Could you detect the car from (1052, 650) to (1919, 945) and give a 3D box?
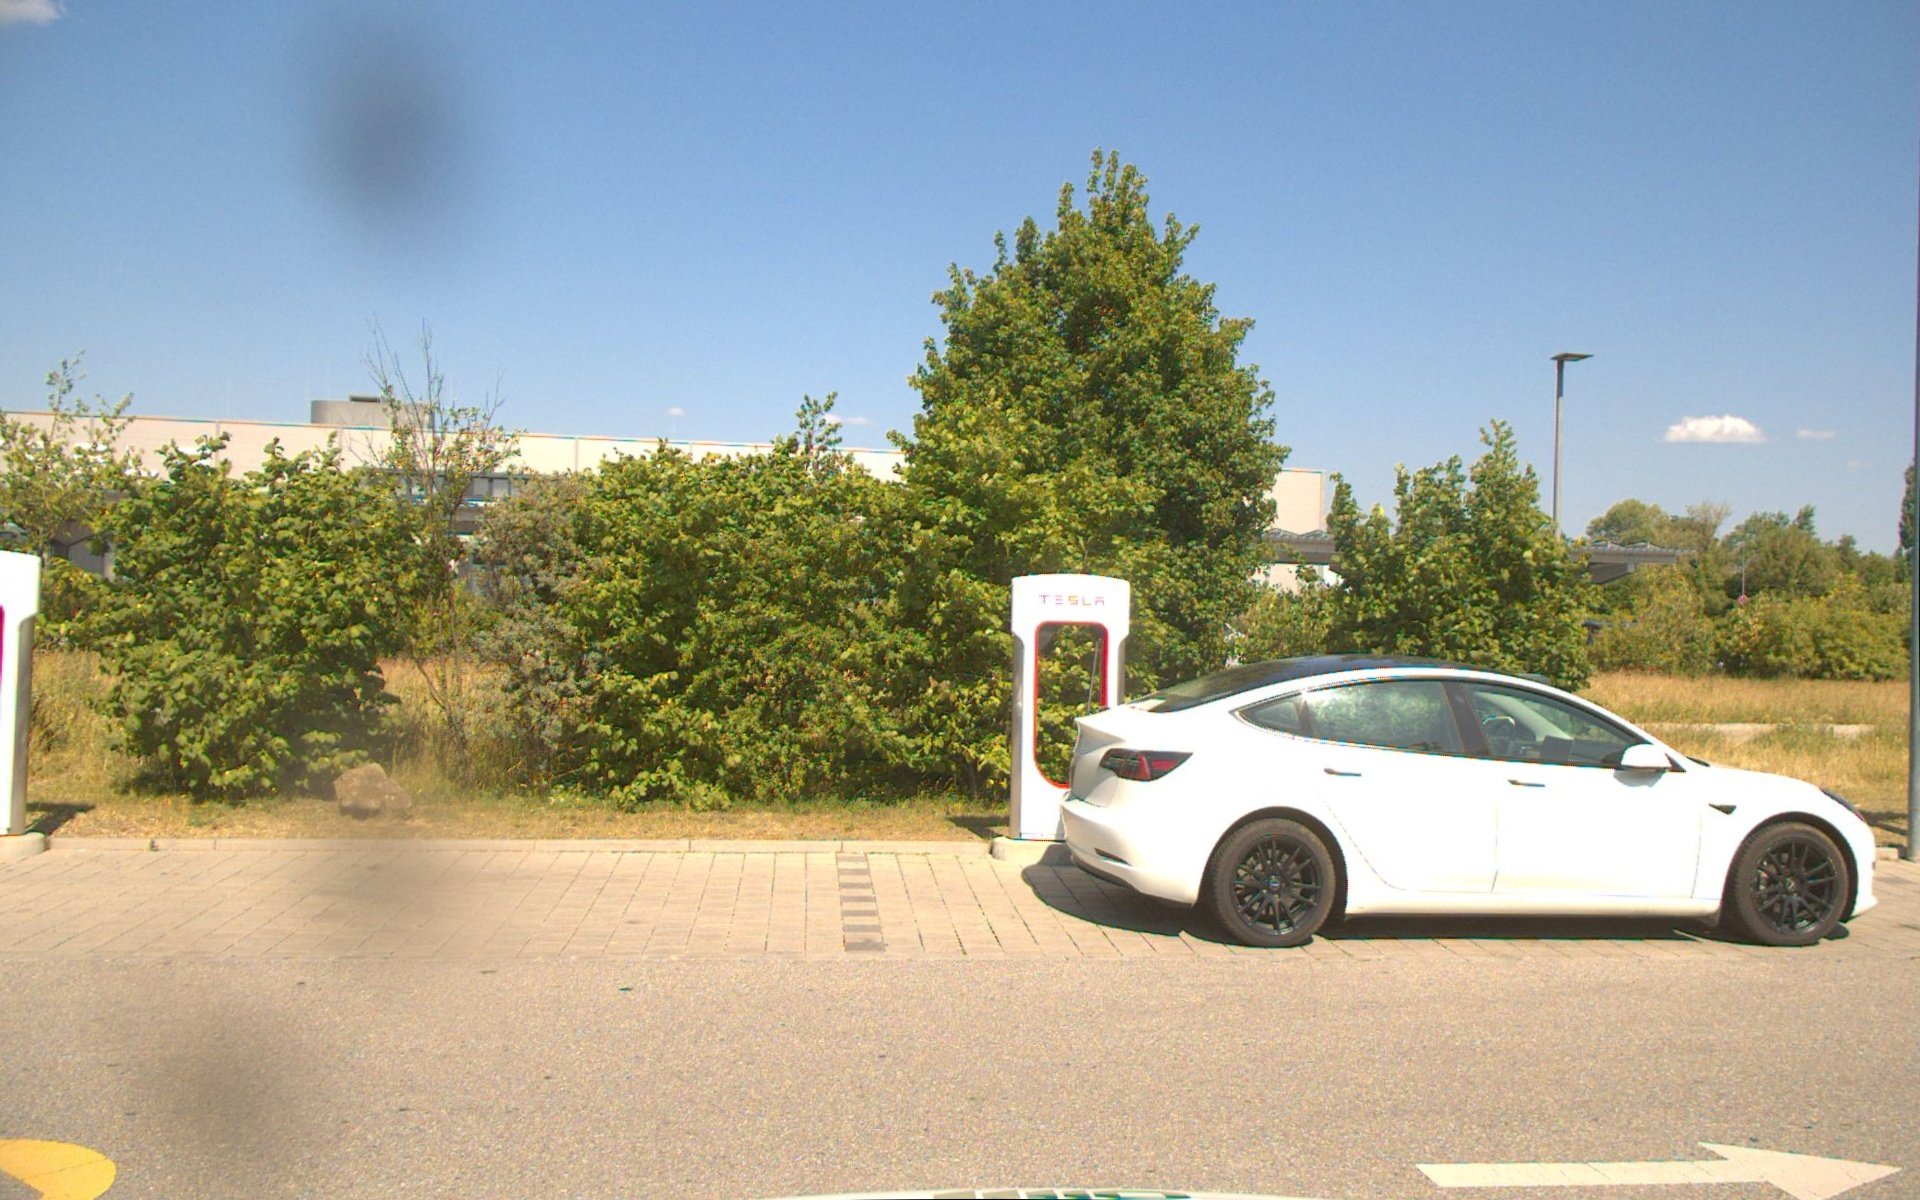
[{"bbox_3d":[2.815,1.038,9.308,4.349,1.401,1.820,1,0,-6],"label":"car"}]
